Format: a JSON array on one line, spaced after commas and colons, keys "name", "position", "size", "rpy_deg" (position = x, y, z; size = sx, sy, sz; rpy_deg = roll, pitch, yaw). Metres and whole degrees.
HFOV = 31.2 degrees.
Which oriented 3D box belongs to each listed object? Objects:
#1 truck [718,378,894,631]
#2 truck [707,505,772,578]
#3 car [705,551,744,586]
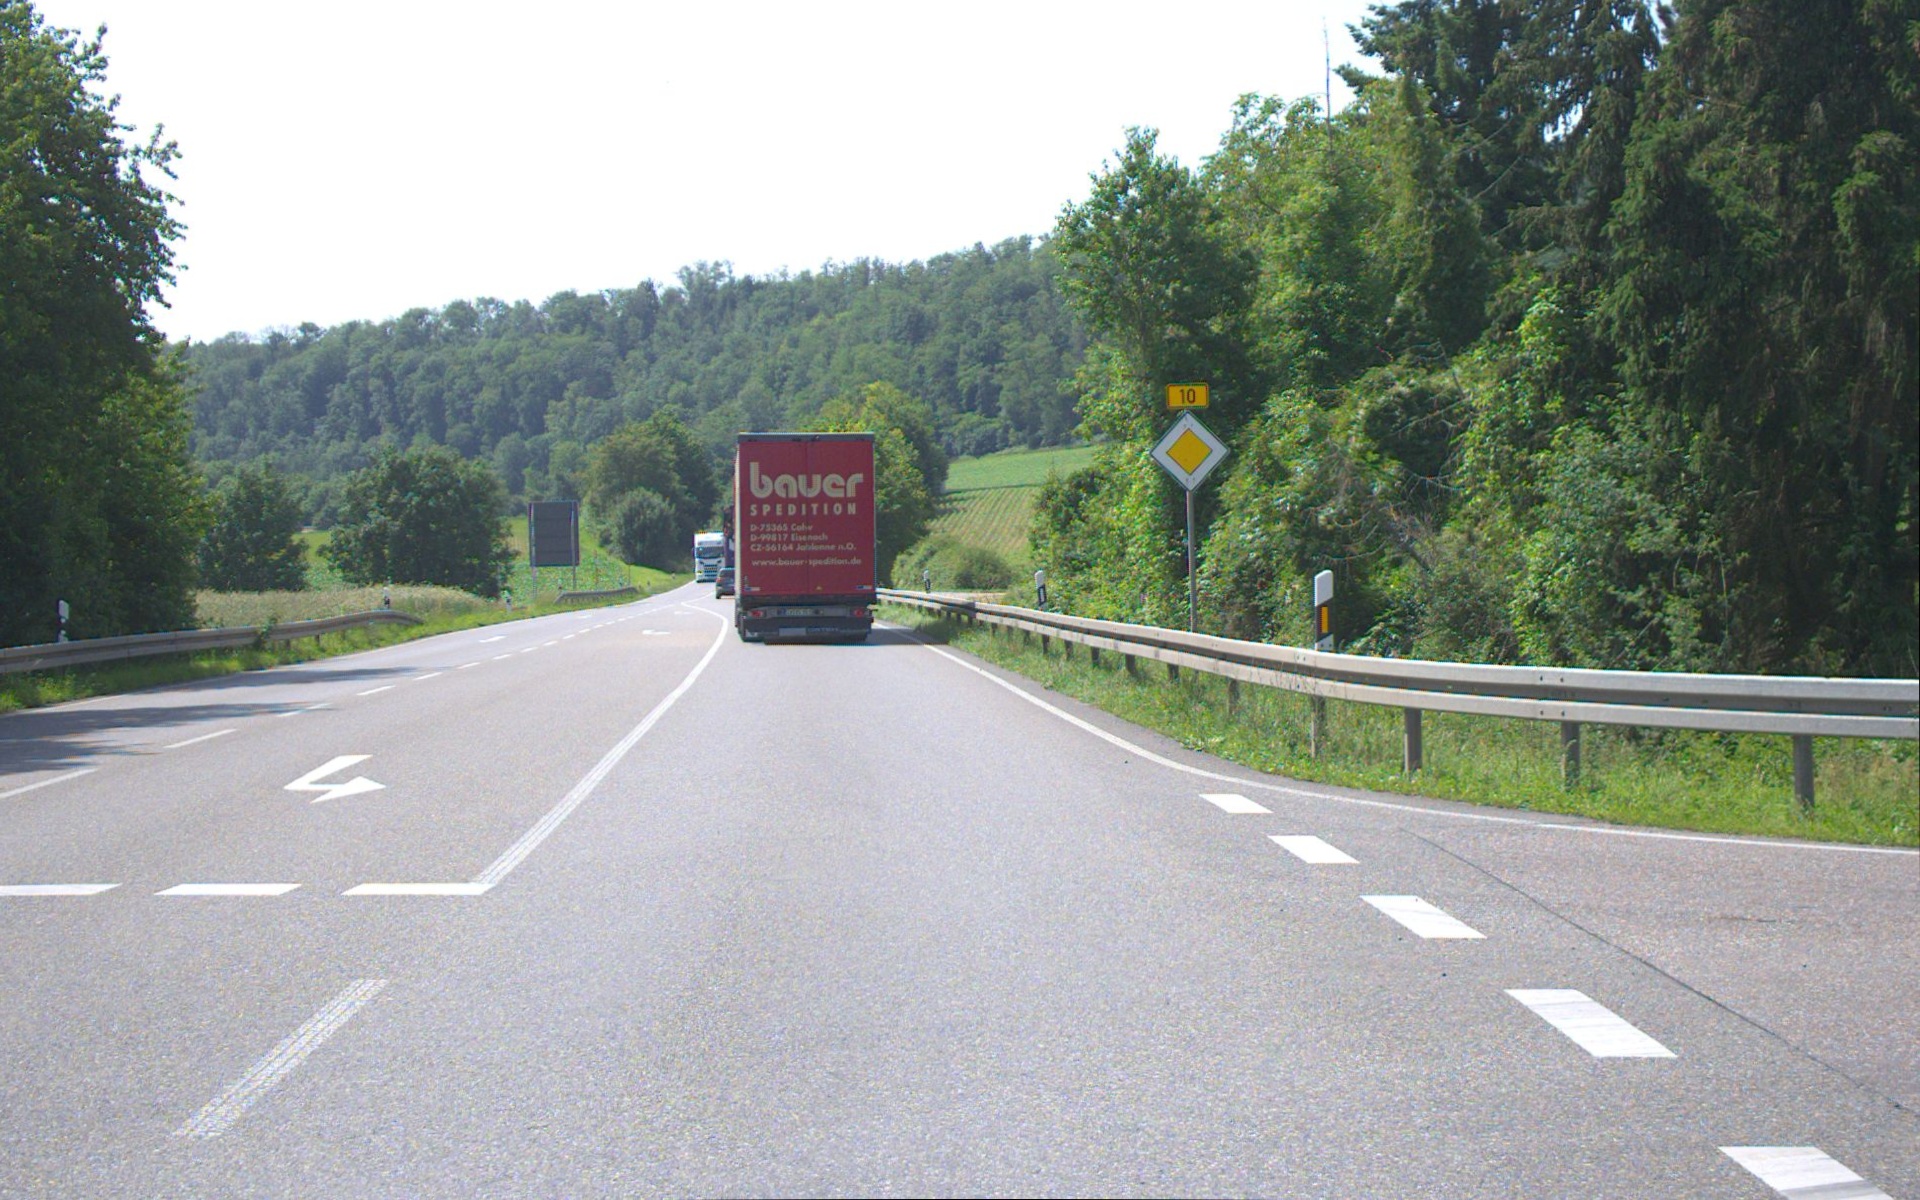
[{"name": "truck", "position": [-3.247, -1.881, 70.333], "size": [3.172, 4.609, 13.545], "rpy_deg": [-1, 1, -3]}, {"name": "truck", "position": [-13.853, -3.601, 216.276], "size": [3.904, 4.355, 13.294], "rpy_deg": [1, 0, -4]}, {"name": "car", "position": [-12.692, -1.693, 184.971], "size": [1.993, 1.804, 4.001], "rpy_deg": [2, 0, -4]}]
